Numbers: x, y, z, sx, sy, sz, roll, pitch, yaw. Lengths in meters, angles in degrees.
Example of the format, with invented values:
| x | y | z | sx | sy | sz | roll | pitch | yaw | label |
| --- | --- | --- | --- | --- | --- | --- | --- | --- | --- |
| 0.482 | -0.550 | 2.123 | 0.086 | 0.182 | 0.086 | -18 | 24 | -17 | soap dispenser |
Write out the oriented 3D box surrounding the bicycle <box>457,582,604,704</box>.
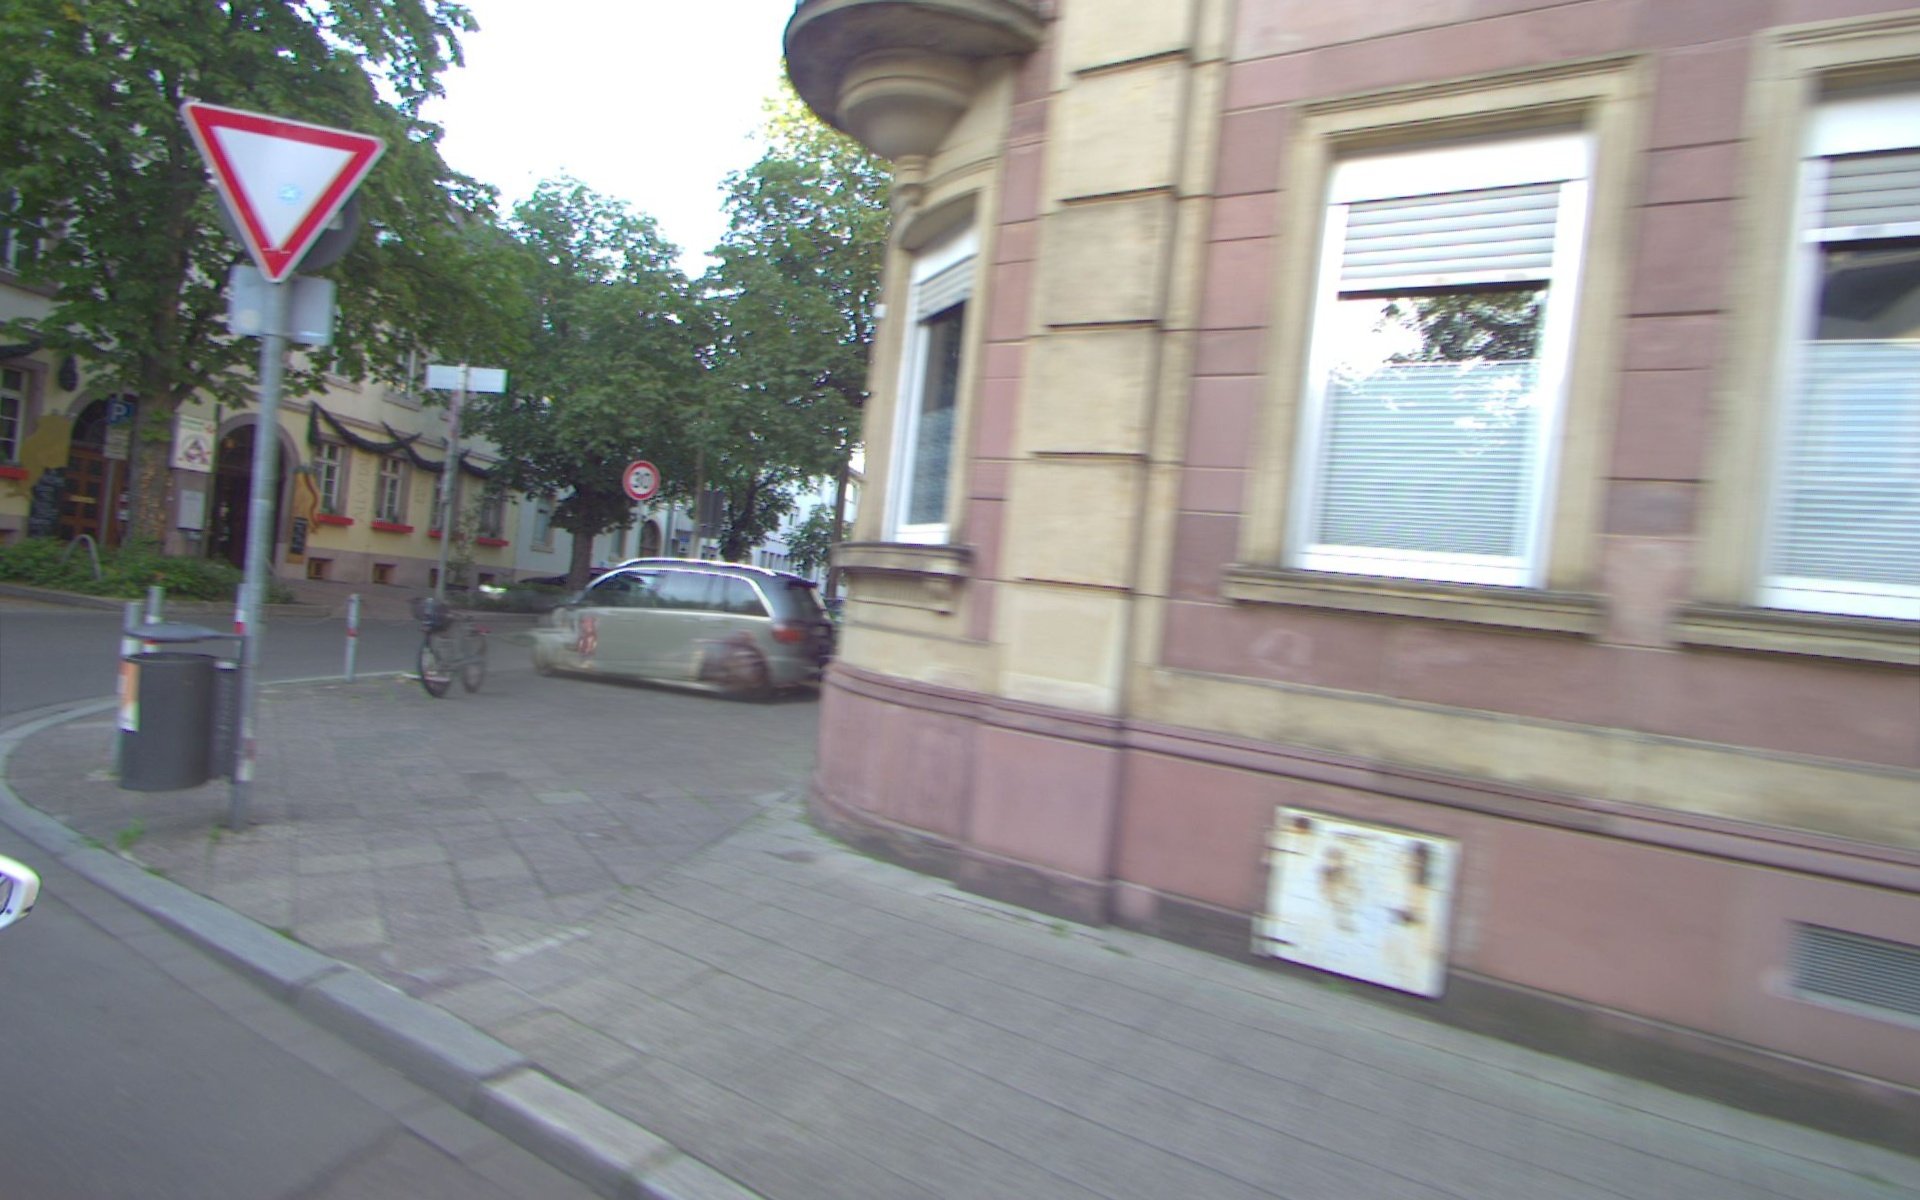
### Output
| x | y | z | sx | sy | sz | roll | pitch | yaw | label |
| --- | --- | --- | --- | --- | --- | --- | --- | --- | --- |
| -4.296 | 0.406 | 10.216 | 0.357 | 1.103 | 1.870 | 5 | 1 | 9 | bicycle |

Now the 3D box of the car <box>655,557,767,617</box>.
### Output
| x | y | z | sx | sy | sz | roll | pitch | yaw | label |
| --- | --- | --- | --- | --- | --- | --- | --- | --- | --- |
| -11.212 | -0.574 | 45.421 | 4.361 | 2.149 | 1.777 | 7 | 0 | 10 | car |

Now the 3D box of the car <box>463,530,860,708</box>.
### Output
| x | y | z | sx | sy | sz | roll | pitch | yaw | label |
| --- | --- | --- | --- | --- | --- | --- | --- | --- | --- |
| -3.771 | 0.206 | 13.011 | 4.503 | 1.761 | 1.776 | 5 | 1 | 10 | car |

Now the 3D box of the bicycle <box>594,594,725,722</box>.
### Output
| x | y | z | sx | sy | sz | roll | pitch | yaw | label |
| --- | --- | --- | --- | --- | --- | --- | --- | --- | --- |
| -2.873 | 0.521 | 9.806 | 0.357 | 1.103 | 1.870 | 5 | 1 | 9 | bicycle |

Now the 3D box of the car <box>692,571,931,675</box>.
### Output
| x | y | z | sx | sy | sz | roll | pitch | yaw | label |
| --- | --- | --- | --- | --- | --- | --- | --- | --- | --- |
| -2.980 | 0.460 | 20.541 | 4.361 | 1.506 | 1.777 | 7 | 0 | 10 | car |

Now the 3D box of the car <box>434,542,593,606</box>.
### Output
| x | y | z | sx | sy | sz | roll | pitch | yaw | label |
| --- | --- | --- | --- | --- | --- | --- | --- | --- | --- |
| -14.479 | -0.830 | 32.729 | 4.361 | 1.524 | 1.777 | 7 | 0 | 10 | car |

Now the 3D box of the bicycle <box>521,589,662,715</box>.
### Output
| x | y | z | sx | sy | sz | roll | pitch | yaw | label |
| --- | --- | --- | --- | --- | --- | --- | --- | --- | --- |
| -3.572 | 0.474 | 9.928 | 0.357 | 1.103 | 1.870 | 5 | 1 | 9 | bicycle |

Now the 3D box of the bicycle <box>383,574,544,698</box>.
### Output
| x | y | z | sx | sy | sz | roll | pitch | yaw | label |
| --- | --- | --- | --- | --- | --- | --- | --- | --- | --- |
| -4.911 | 0.336 | 10.089 | 0.357 | 1.103 | 1.870 | 5 | 1 | 9 | bicycle |

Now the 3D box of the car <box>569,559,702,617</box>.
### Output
| x | y | z | sx | sy | sz | roll | pitch | yaw | label |
| --- | --- | --- | --- | --- | --- | --- | --- | --- | --- |
| -12.274 | -0.426 | 38.166 | 4.361 | 1.633 | 1.777 | 7 | 0 | 10 | car |
